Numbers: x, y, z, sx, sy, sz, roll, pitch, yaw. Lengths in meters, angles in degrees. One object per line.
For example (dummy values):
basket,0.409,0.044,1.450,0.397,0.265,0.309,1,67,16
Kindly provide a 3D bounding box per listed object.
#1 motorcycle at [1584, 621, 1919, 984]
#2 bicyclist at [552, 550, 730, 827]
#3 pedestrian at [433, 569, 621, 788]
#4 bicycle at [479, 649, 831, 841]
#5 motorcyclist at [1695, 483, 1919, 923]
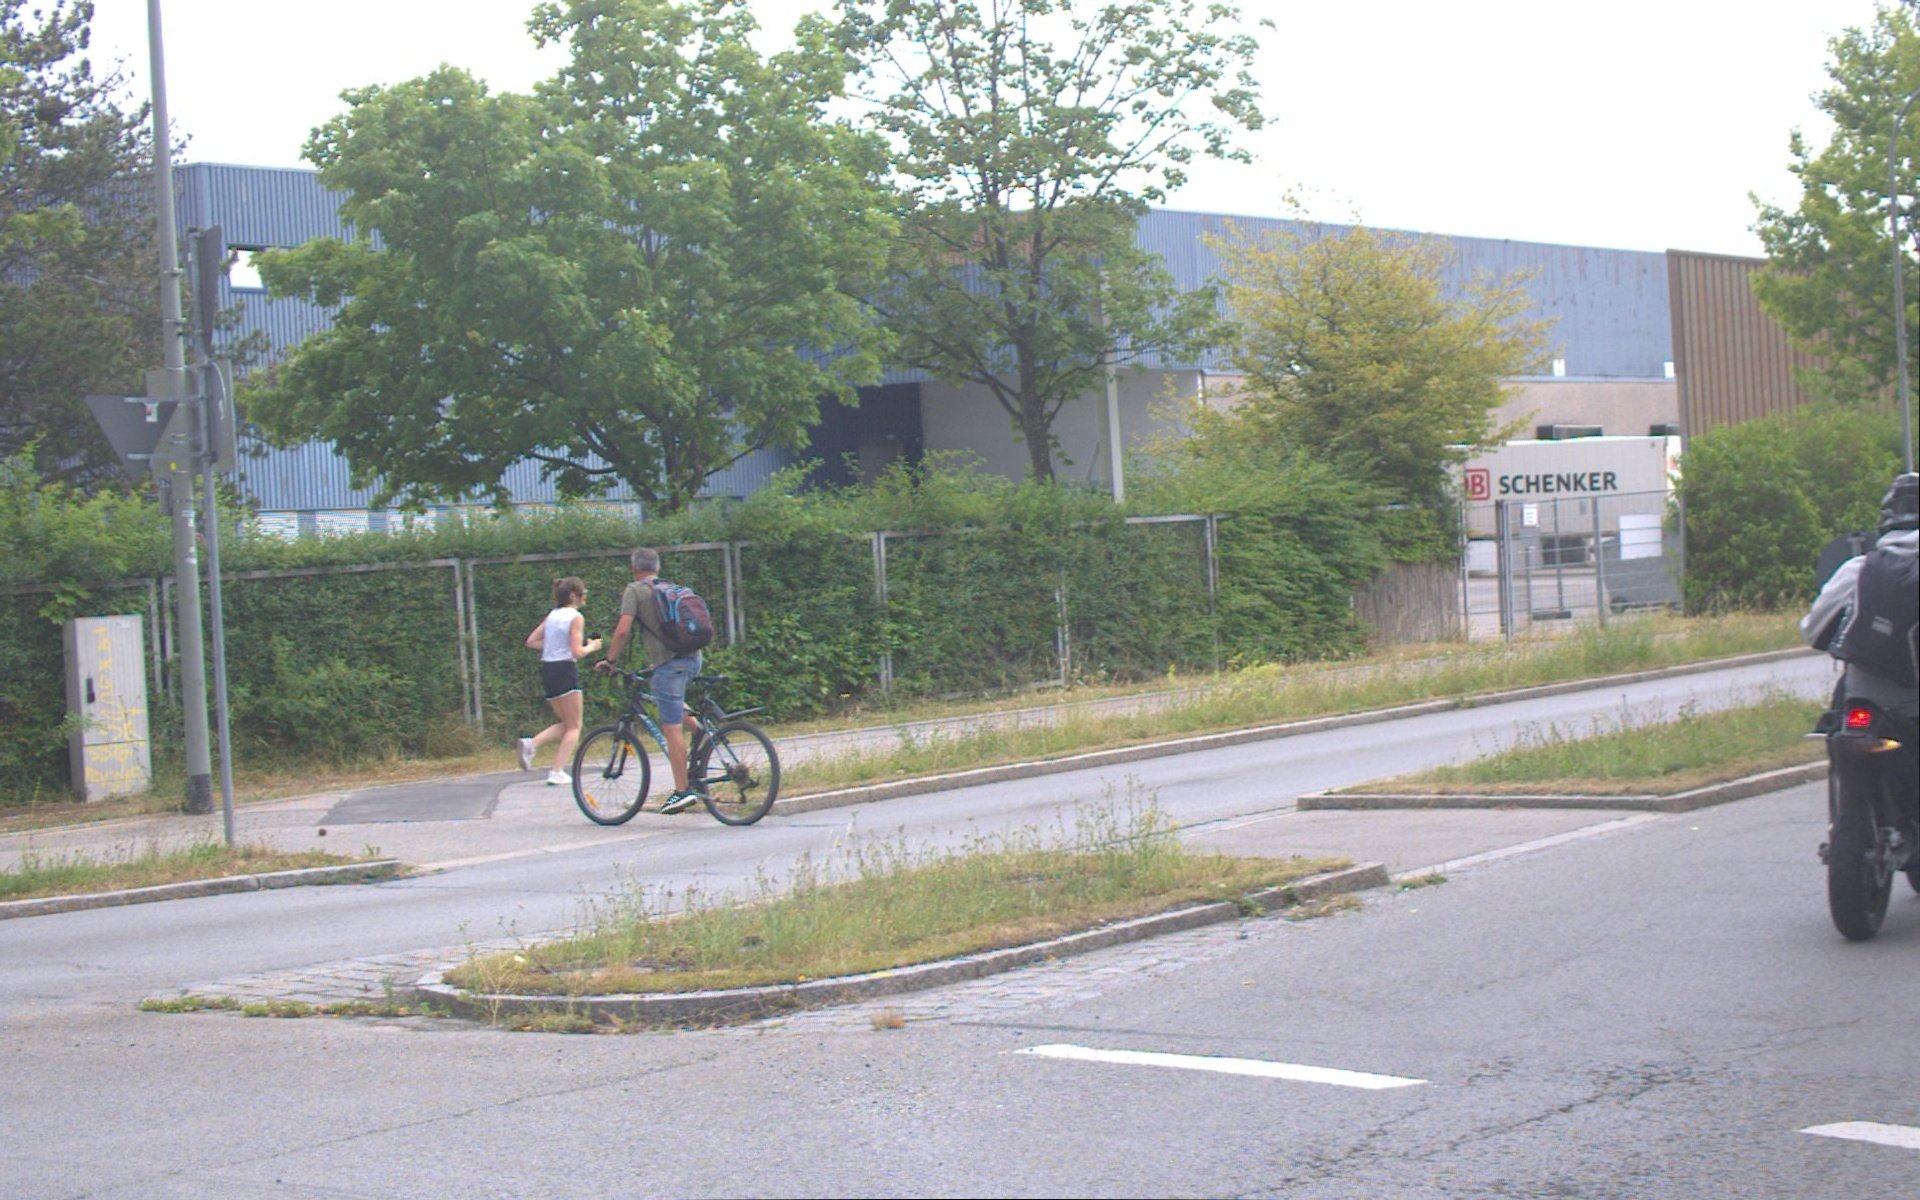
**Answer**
motorcycle,3.547,0.719,13.327,0.899,1.154,2.614,-2,1,43
bicyclist,-2.046,0.547,22.055,0.918,1.716,0.657,1,2,43
pedestrian,-3.218,0.576,25.562,1.042,1.539,0.787,-4,1,-43
bicycle,-1.979,0.893,21.988,2.505,1.085,0.769,1,2,44
motorcyclist,3.595,0.363,13.394,0.863,1.618,1.188,-2,1,43
